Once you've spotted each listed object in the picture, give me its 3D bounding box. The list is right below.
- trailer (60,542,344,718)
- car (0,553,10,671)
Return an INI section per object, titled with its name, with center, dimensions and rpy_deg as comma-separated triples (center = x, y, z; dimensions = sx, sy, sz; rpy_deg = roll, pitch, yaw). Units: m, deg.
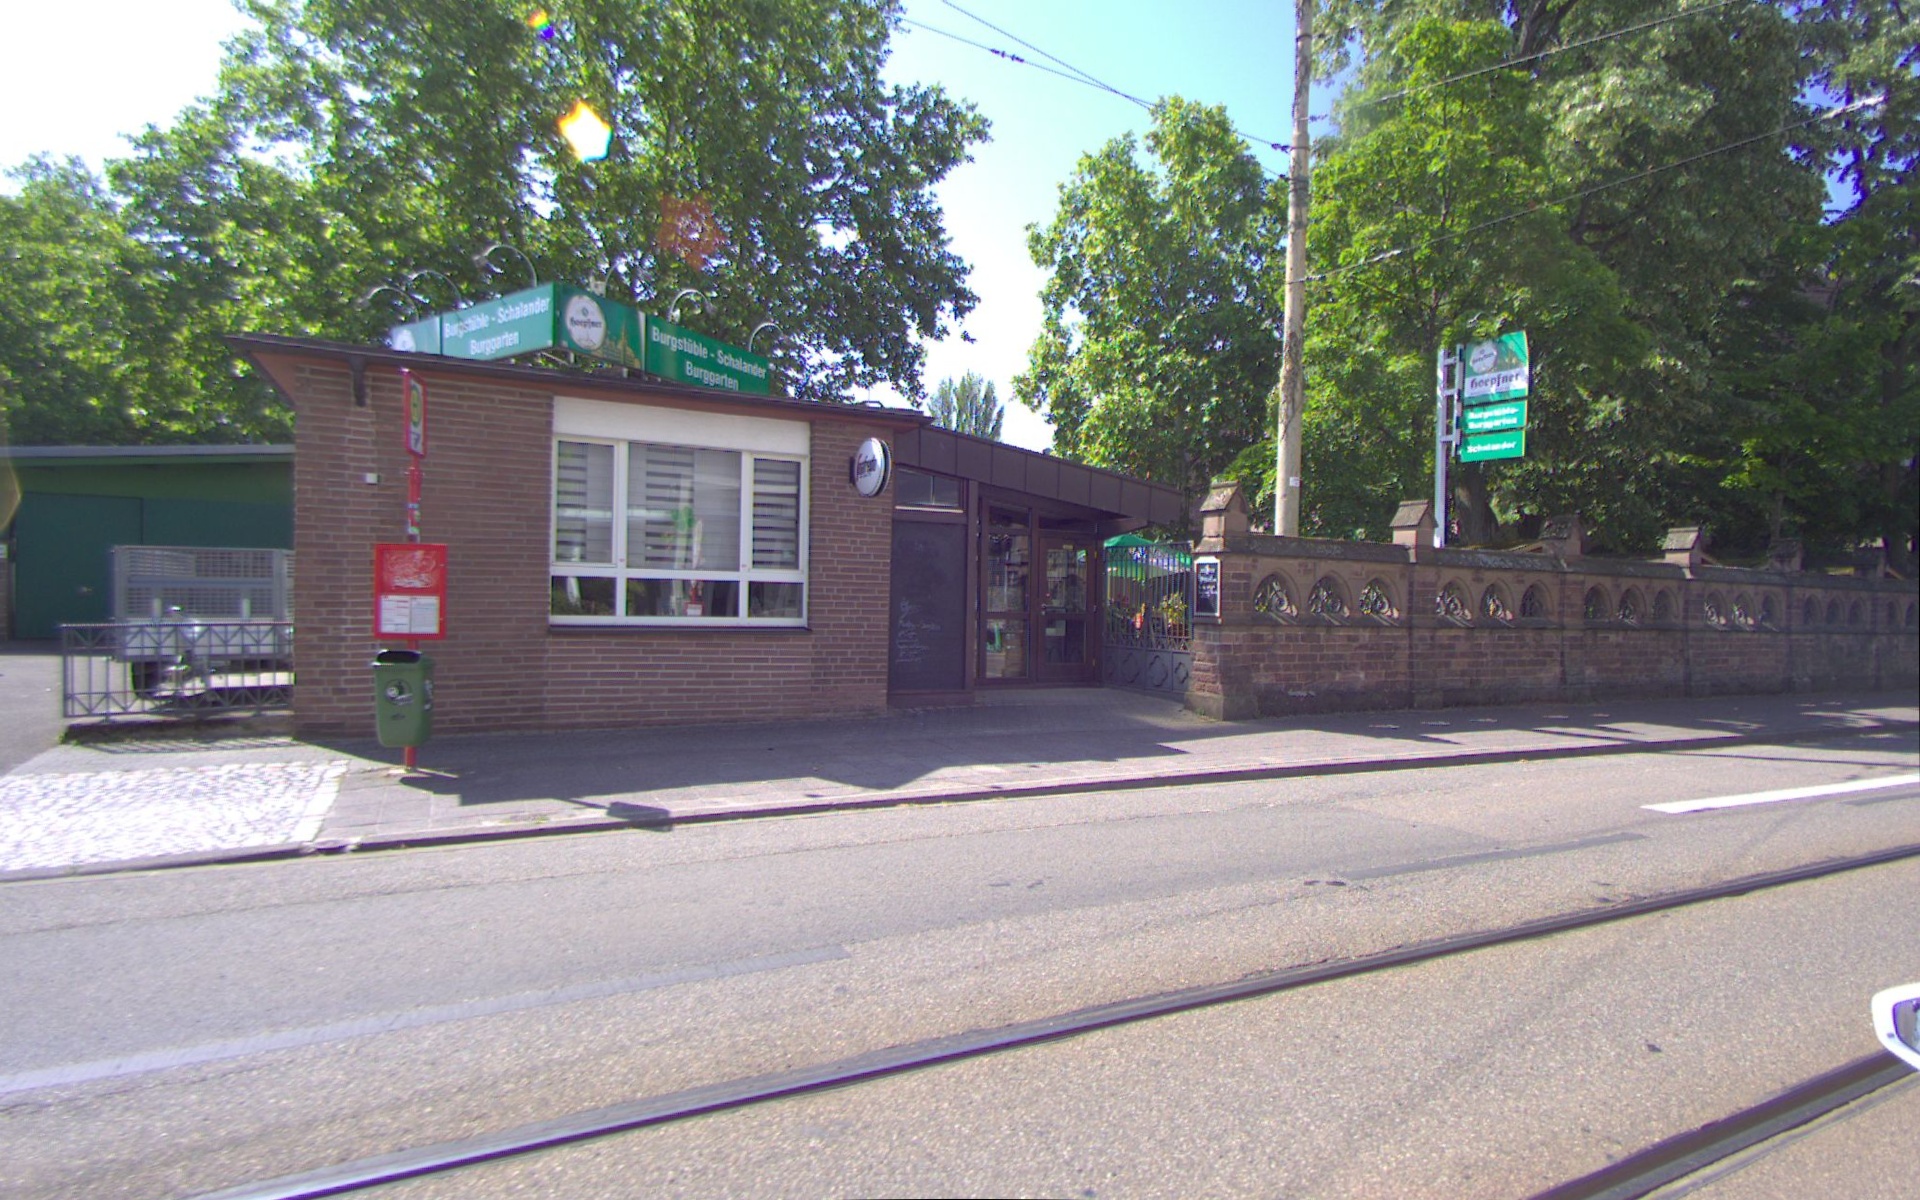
[trailer]
center = -7.782, 0.262, 10.657
dimensions = 1.754, 1.546, 3.205
rpy_deg = 1, 0, -25
[car]
center = -15.498, 0.111, 13.593
dimensions = 4.487, 1.604, 1.950
rpy_deg = 1, 0, 18
